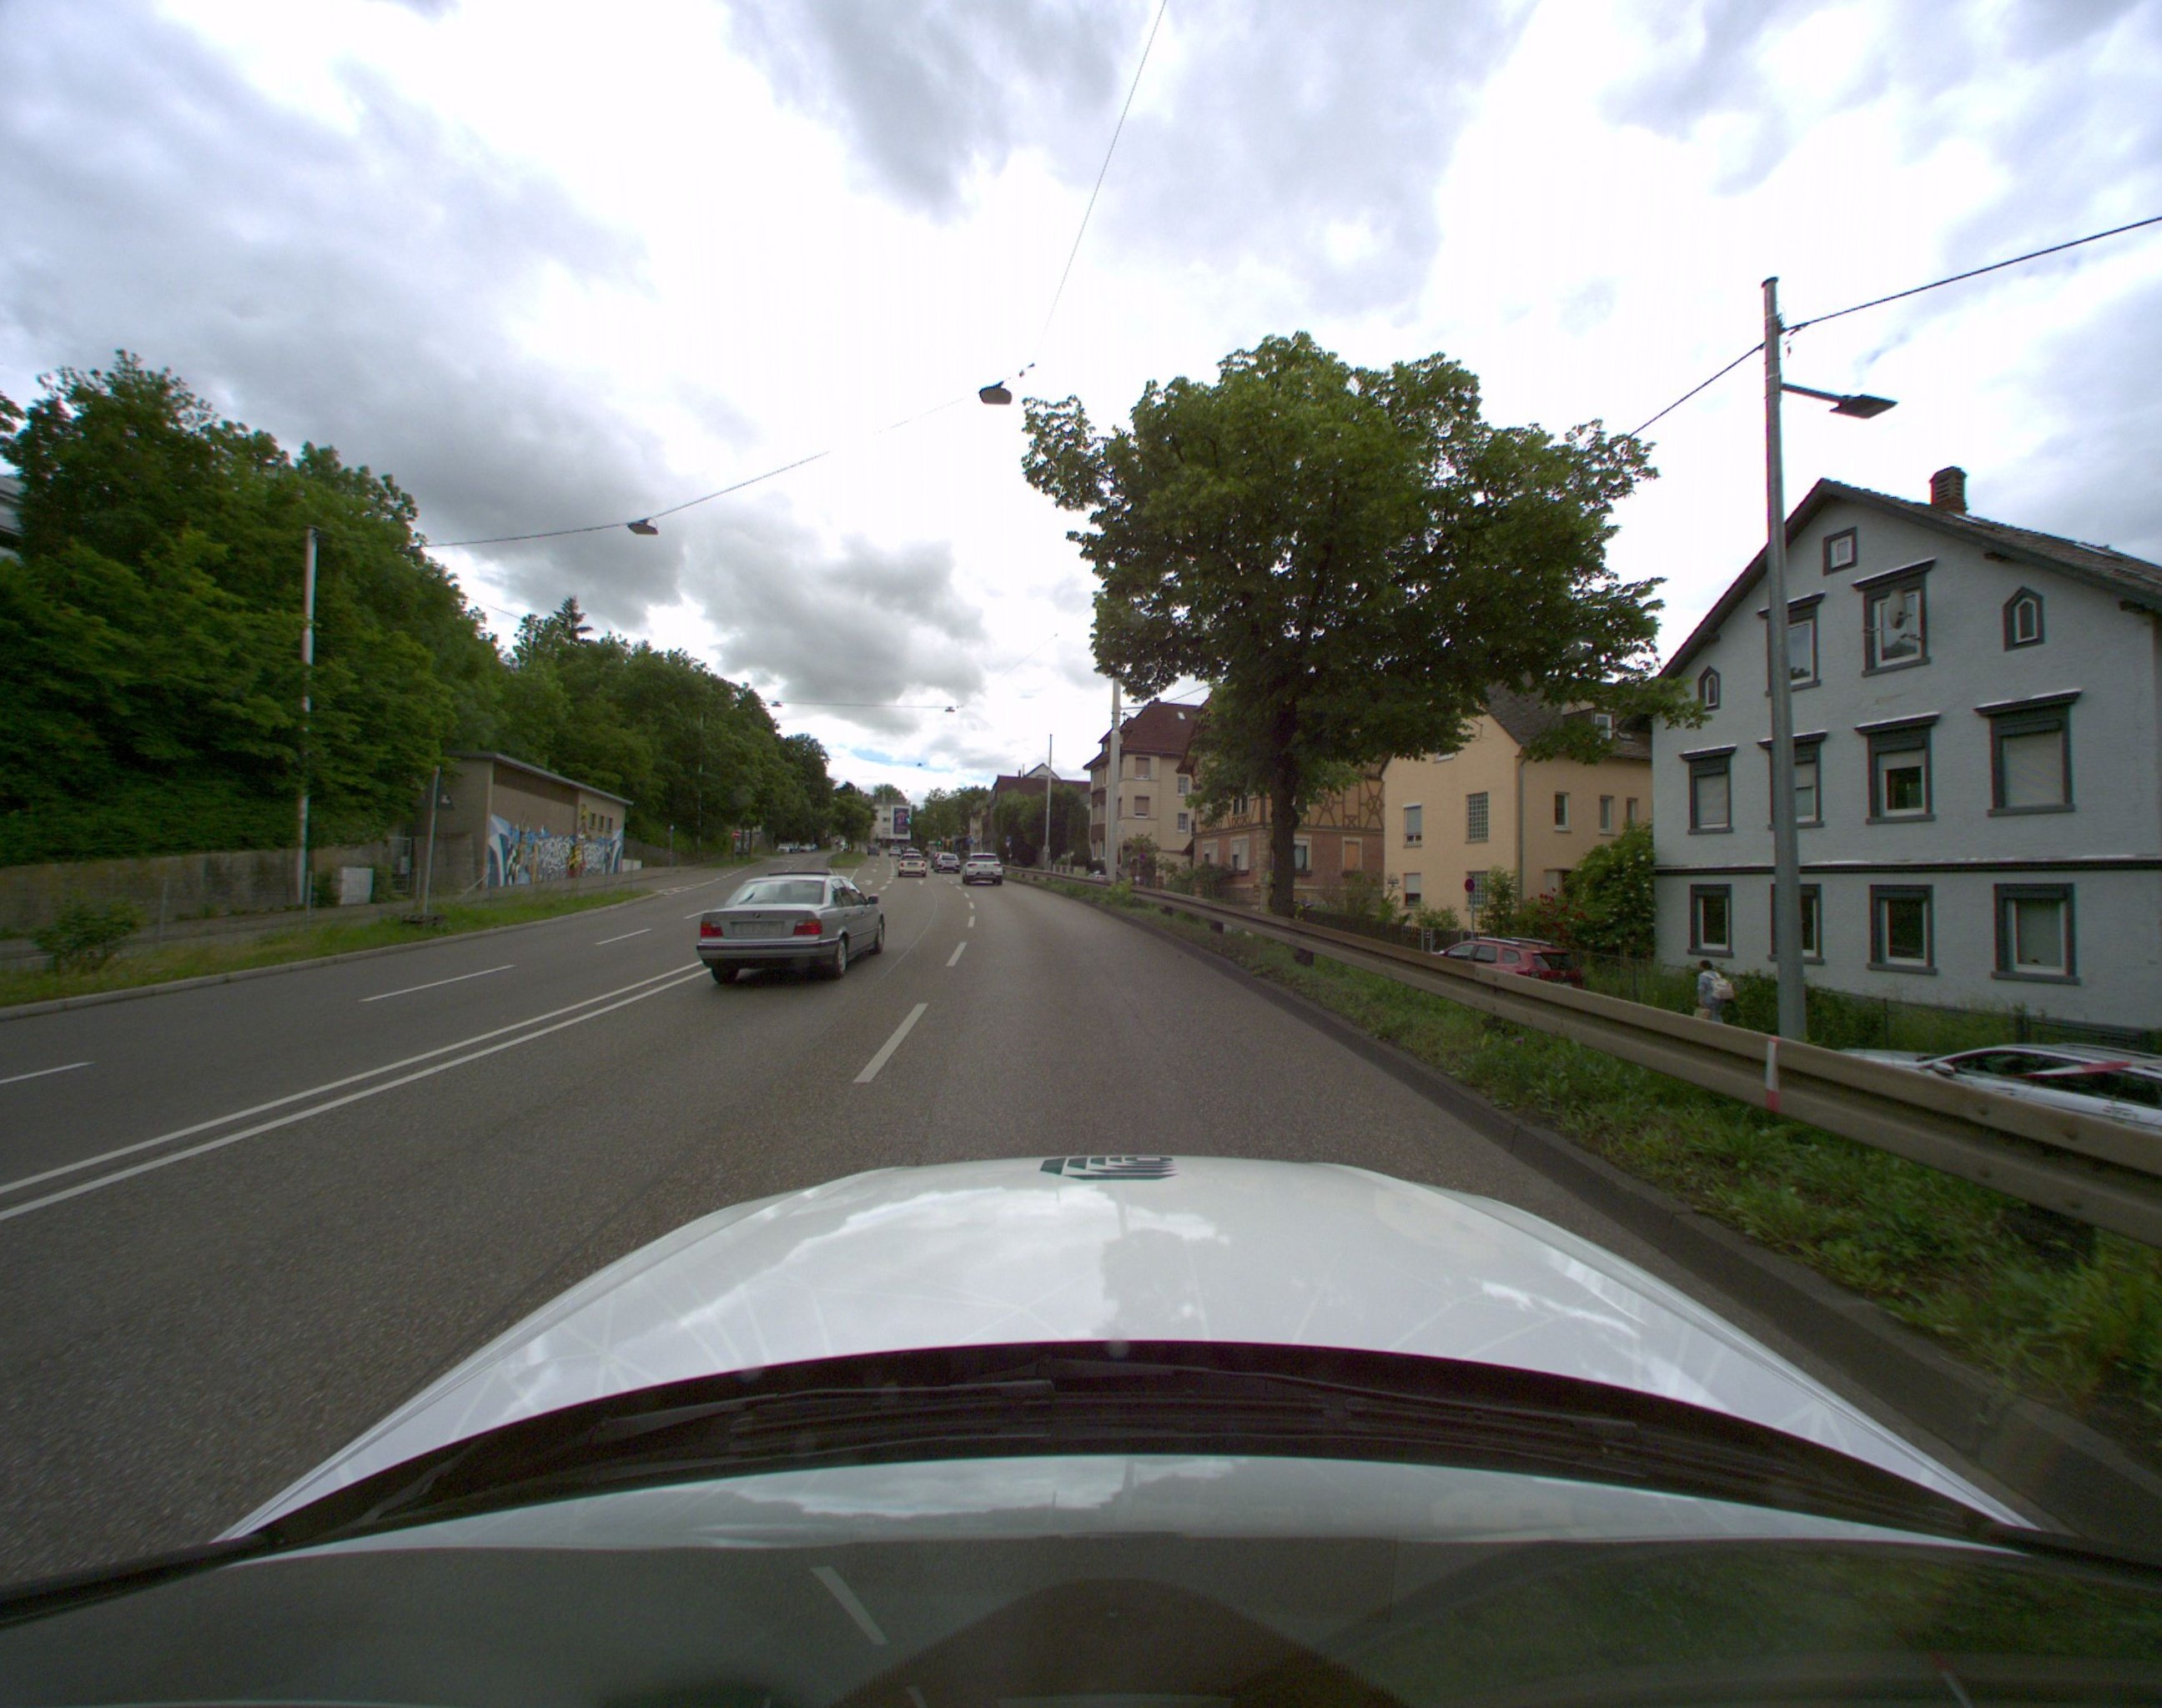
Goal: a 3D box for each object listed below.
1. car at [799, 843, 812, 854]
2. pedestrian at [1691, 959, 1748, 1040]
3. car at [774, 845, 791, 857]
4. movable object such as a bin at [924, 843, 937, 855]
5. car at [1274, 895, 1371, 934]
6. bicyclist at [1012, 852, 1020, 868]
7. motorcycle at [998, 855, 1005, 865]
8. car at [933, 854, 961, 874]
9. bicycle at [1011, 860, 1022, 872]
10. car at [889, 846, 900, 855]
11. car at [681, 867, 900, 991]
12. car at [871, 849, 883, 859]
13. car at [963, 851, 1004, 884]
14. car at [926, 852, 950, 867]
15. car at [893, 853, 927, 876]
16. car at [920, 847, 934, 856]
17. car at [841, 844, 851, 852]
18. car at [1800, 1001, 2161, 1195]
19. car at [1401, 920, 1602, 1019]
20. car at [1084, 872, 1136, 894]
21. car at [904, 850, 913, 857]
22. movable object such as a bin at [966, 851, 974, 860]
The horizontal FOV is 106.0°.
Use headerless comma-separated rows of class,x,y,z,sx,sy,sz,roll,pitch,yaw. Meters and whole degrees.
car,-47.507,-0.971,140.664,1.864,1.593,4.256,3,0,-16
pedestrian,12.569,2.848,16.035,0.619,1.480,0.586,3,0,-15
car,-43.556,-0.436,118.942,1.864,1.670,4.256,3,0,-16
movable object such as a bin,-25.521,-0.893,138.122,1.899,1.870,1.517,3,0,-23
car,11.604,2.905,39.233,3.995,1.574,1.989,4,0,-16
bicyclist,-6.192,0.577,77.544,0.567,1.525,0.954,-1,1,-16
motorcycle,-9.224,0.701,94.669,0.609,1.162,2.032,0,1,-13
car,-10.006,0.720,60.580,1.726,1.376,3.438,-1,0,-15
bicycle,-6.149,1.165,77.625,0.567,1.063,1.995,-1,1,-16
car,-30.287,-0.511,132.261,1.725,1.376,3.439,-1,0,-15
car,-3.956,0.918,11.967,1.630,1.383,4.616,-2,-1,-2
car,-33.318,-0.050,132.673,1.727,1.583,3.437,-1,0,-17
car,-4.848,0.658,40.284,1.797,1.519,3.444,-1,0,-11
car,-13.104,0.495,74.505,1.726,1.376,3.438,-1,0,-16
car,-10.713,0.623,50.883,1.728,1.376,3.435,-1,0,-18
car,-36.623,-0.582,193.743,1.984,2.013,4.006,-1,0,6
car,-51.446,-1.278,178.481,1.863,1.670,4.258,3,0,-15
car,12.304,3.036,10.456,1.622,1.441,4.408,3,0,-17
car,9.806,2.625,19.406,1.786,1.670,4.178,3,0,-18
car,2.236,2.218,62.317,3.625,1.435,1.688,4,0,-30
car,-35.686,-0.020,168.421,1.725,1.376,3.439,-1,0,-15
movable object such as a bin,-18.660,0.249,136.780,1.197,1.408,0.707,3,0,-15
